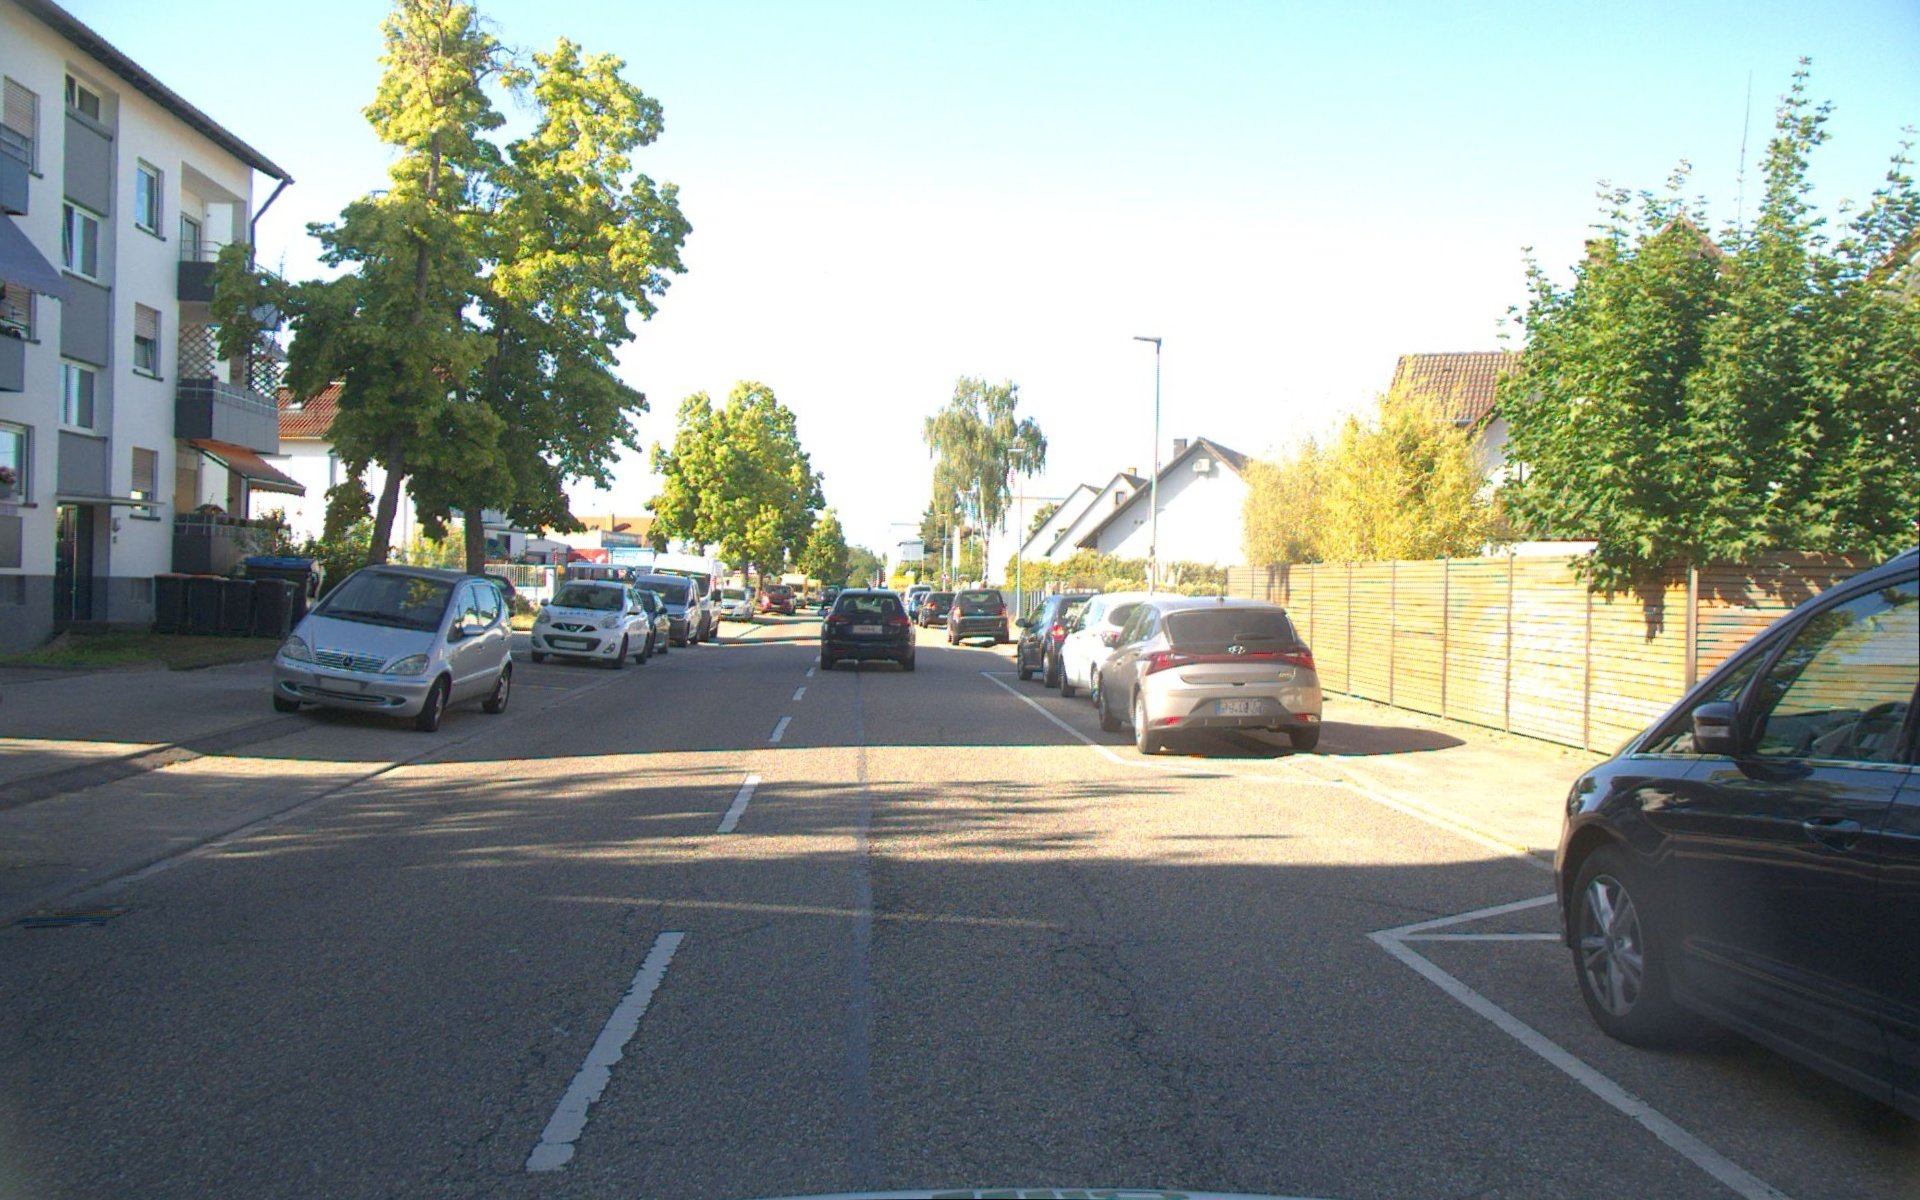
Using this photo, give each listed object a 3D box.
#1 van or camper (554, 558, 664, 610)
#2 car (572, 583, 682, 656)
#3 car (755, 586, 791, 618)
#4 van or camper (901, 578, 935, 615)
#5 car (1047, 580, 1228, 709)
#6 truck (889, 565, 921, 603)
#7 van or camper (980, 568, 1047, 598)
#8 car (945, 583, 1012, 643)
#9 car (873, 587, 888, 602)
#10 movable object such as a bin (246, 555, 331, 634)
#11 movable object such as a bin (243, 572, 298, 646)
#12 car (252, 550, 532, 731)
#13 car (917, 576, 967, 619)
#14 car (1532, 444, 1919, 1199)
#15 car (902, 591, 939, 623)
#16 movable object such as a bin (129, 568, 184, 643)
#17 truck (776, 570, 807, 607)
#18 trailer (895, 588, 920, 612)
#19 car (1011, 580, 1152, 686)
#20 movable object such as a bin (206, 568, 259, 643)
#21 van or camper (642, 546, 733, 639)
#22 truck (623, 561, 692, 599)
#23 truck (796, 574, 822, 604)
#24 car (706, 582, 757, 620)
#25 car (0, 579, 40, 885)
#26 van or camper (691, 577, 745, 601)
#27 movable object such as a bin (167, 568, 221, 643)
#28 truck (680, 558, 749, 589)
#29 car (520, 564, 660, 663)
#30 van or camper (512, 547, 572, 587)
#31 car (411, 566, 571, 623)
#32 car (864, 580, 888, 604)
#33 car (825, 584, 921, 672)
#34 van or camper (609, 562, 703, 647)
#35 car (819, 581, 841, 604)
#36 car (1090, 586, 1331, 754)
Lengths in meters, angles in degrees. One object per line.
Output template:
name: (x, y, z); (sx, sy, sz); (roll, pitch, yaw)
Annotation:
van or camper: (-17.366, -0.772, 82.010); (4.788, 2.361, 2.245); (2, -1, 9)
car: (-7.349, 0.399, 36.903); (1.577, 1.460, 4.312); (3, 0, -1)
car: (-11.144, 0.094, 98.705); (1.768, 1.783, 4.339); (3, 0, -3)
van or camper: (-2.292, -0.191, 89.066); (1.684, 1.923, 4.177); (2, 0, -3)
car: (2.410, 0.568, 23.404); (1.691, 1.628, 3.810); (2, 0, -7)
truck: (-4.563, -1.268, 135.415); (2.355, 2.988, 7.011); (-1, 0, -4)
van or camper: (4.814, -1.506, 148.760); (5.753, 2.586, 2.266); (1, 0, -31)
car: (0.510, 0.351, 49.814); (1.740, 1.687, 4.301); (2, 0, -2)
car: (-10.302, -0.669, 215.129); (1.881, 1.857, 4.077); (1, 0, -3)
movable object such as a bin: (-13.226, -0.109, 32.604); (1.206, 1.508, 1.115); (1, 0, -1)
movable object such as a bin: (-12.271, 0.156, 29.449); (0.673, 1.301, 0.671); (1, 0, -1)
car: (-6.154, 0.400, 18.412); (1.688, 1.620, 3.907); (6, 0, -1)
car: (-0.784, -0.125, 69.248); (1.741, 1.687, 3.812); (2, 0, -5)
car: (3.187, 0.552, 4.108); (1.709, 1.845, 4.425); (1, 0, -4)
car: (-2.003, 0.354, 83.027); (1.684, 1.531, 3.561); (2, 0, -3)
movable object such as a bin: (-14.263, 0.090, 29.360); (0.625, 1.301, 0.671); (1, 0, -1)
truck: (-14.745, -1.006, 145.061); (2.356, 3.035, 7.238); (3, 0, -5)
trailer: (-3.534, 0.006, 111.296); (1.594, 1.565, 3.196); (1, 0, -3)
car: (1.980, 0.503, 27.957); (1.625, 1.628, 3.810); (2, 0, -7)
movable object such as a bin: (-12.942, 0.097, 29.428); (0.625, 1.301, 0.671); (1, 0, -1)
van or camper: (-8.317, -0.230, 50.867); (2.081, 2.533, 5.550); (4, 0, -4)
truck: (-27.366, -1.804, 149.768); (5.548, 3.173, 2.525); (3, 0, 7)
truck: (-16.064, -1.137, 176.435); (2.355, 3.035, 6.369); (3, 0, -3)
car: (-9.868, 0.022, 71.680); (1.653, 1.460, 4.207); (4, 0, -2)
car: (-5.381, 0.597, 6.022); (1.689, 1.519, 4.539); (6, 0, -5)
van or camper: (-21.816, -1.013, 149.165); (4.448, 2.049, 2.252); (1, 0, 3)
movable object such as a bin: (-13.617, 0.093, 29.399); (0.625, 1.301, 0.671); (1, 0, -1)
truck: (-22.636, -2.457, 152.636); (5.796, 2.612, 2.225); (3, 0, 8)
car: (-6.784, 0.218, 30.681); (1.659, 1.593, 3.906); (4, 0, -1)
van or camper: (-30.739, -2.387, 121.845); (2.119, 2.762, 6.274); (1, 0, 7)
car: (-13.419, -0.132, 47.569); (1.582, 1.540, 4.371); (2, 0, 36)
car: (-6.300, -0.579, 124.212); (1.783, 1.699, 3.641); (0, 0, -2)
car: (-1.626, 0.483, 31.272); (1.677, 1.559, 3.686); (1, 0, -3)
van or camper: (-7.904, 0.100, 43.358); (1.840, 2.049, 4.277); (2, 0, -3)
car: (-11.841, -0.665, 150.619); (1.856, 2.067, 4.815); (0, 0, -3)
car: (2.447, 0.624, 17.057); (1.610, 1.520, 3.886); (1, 0, -4)
